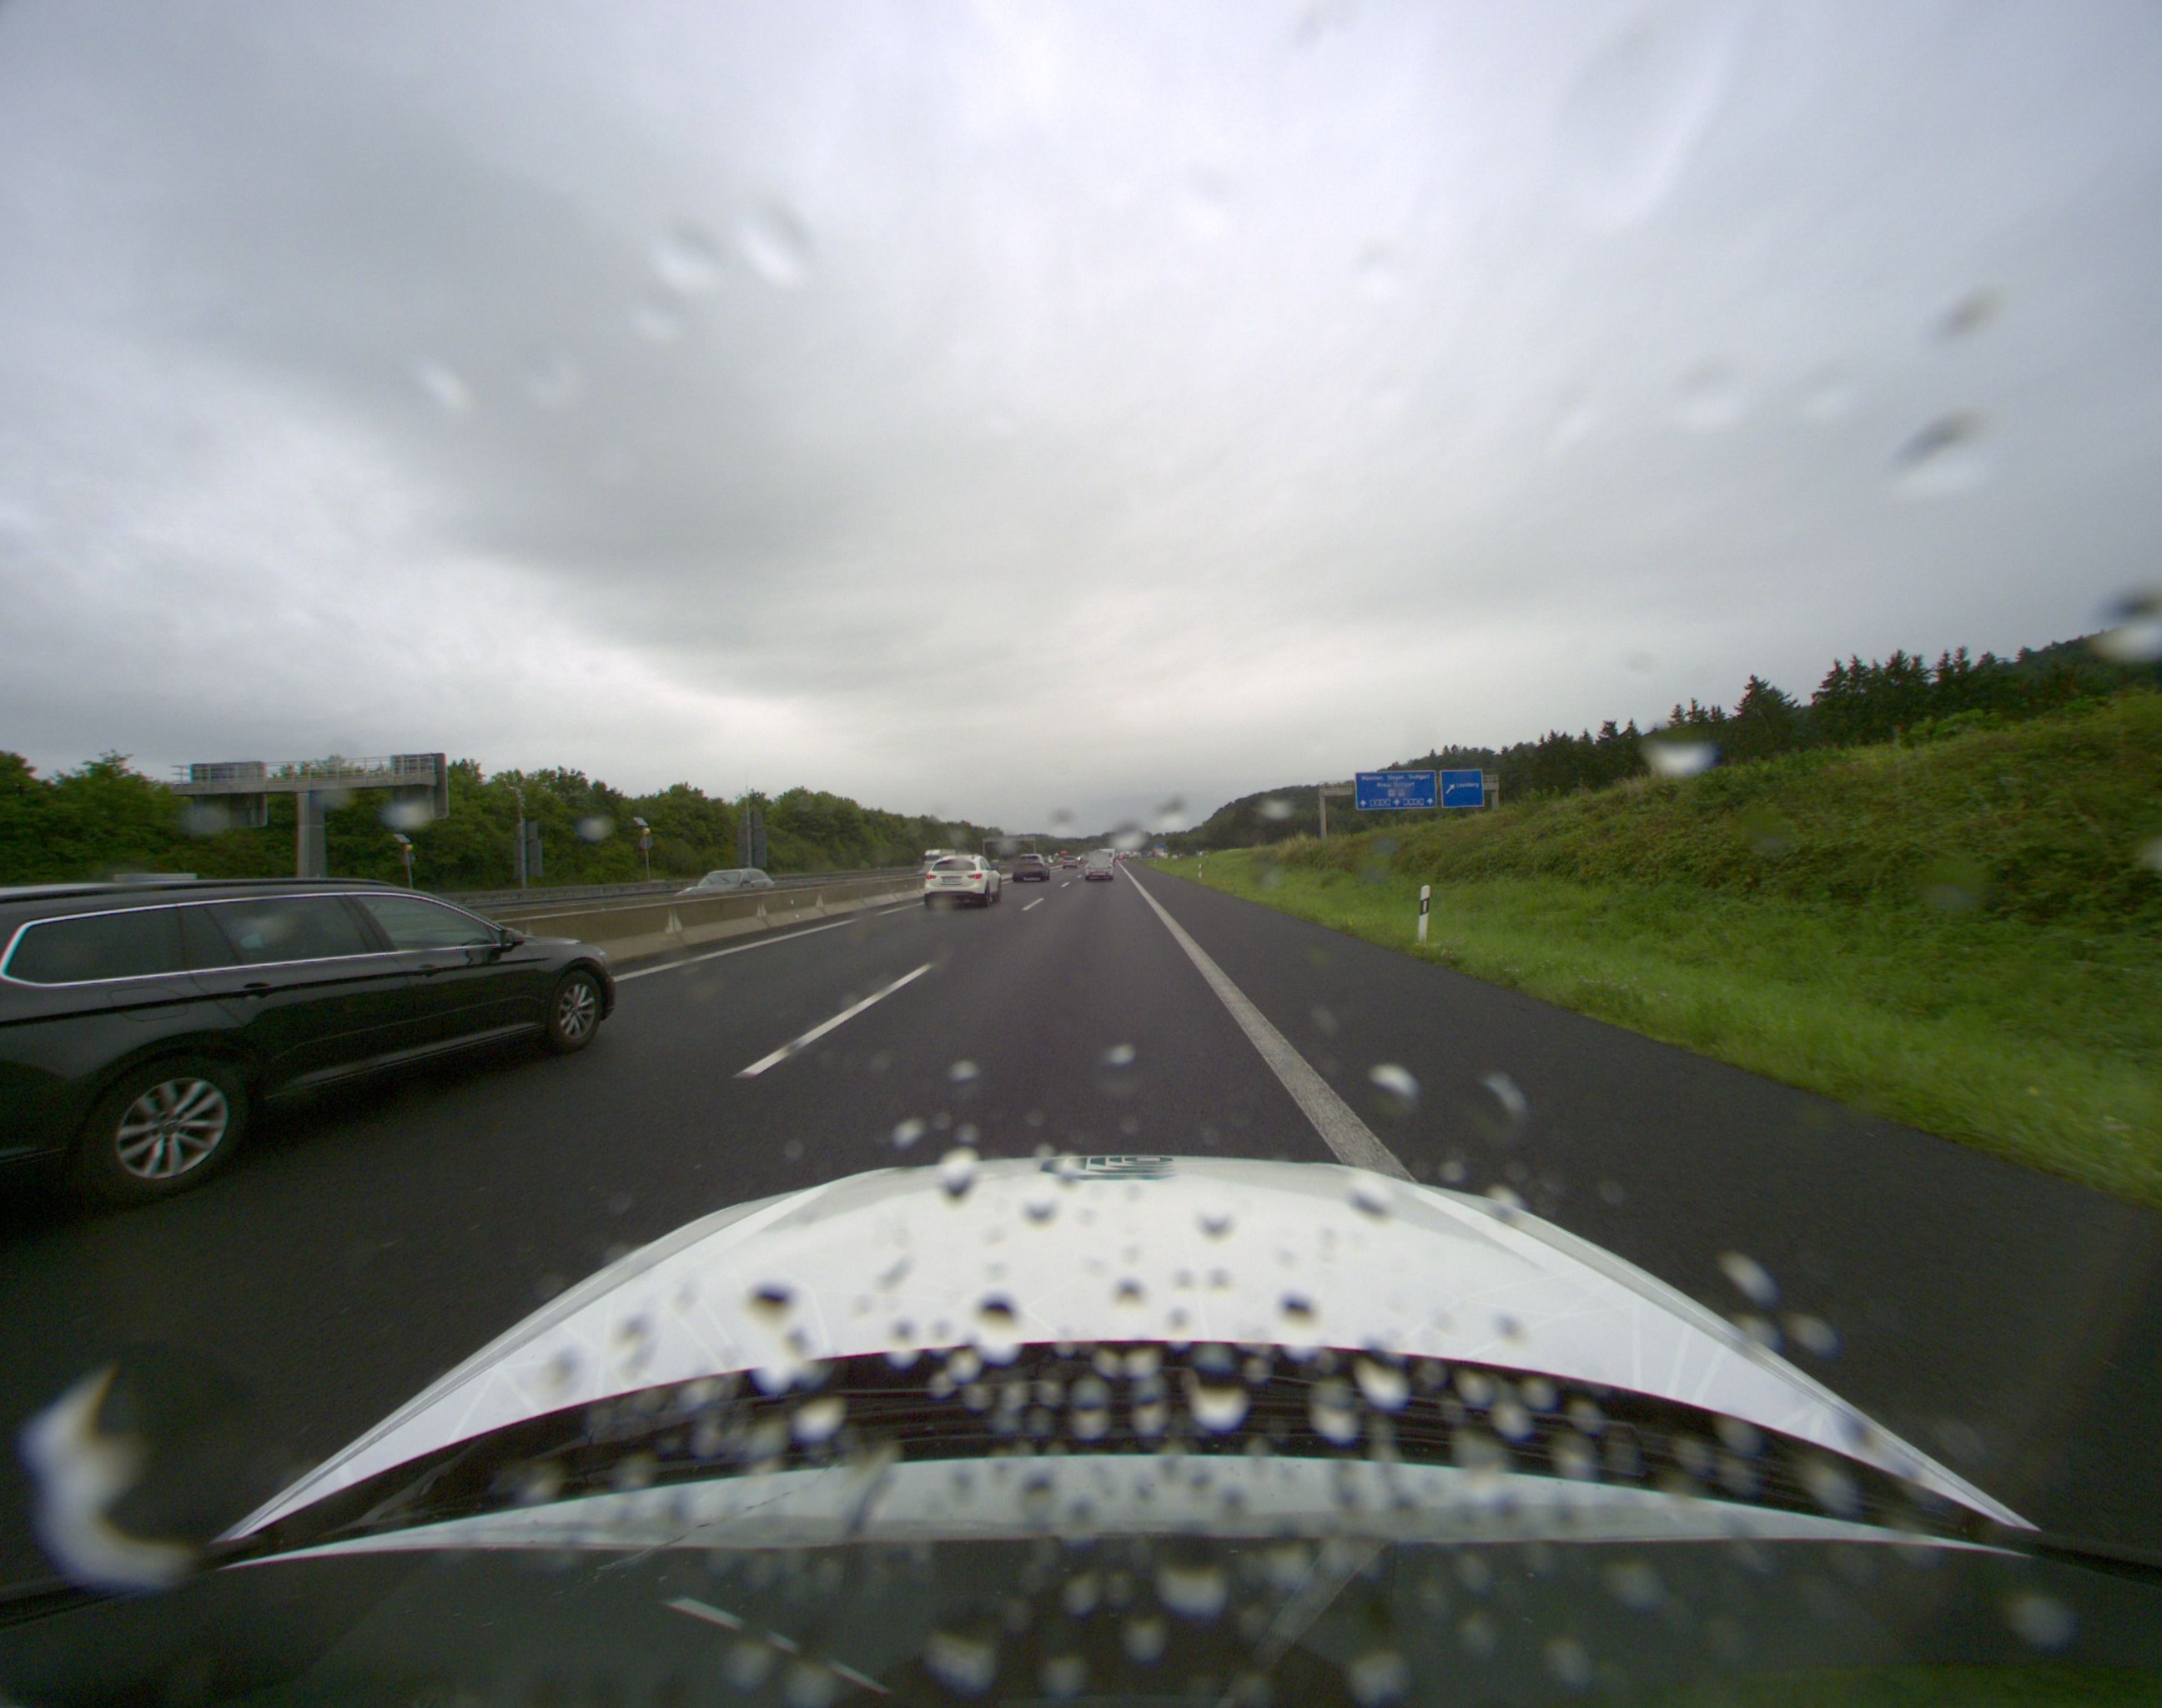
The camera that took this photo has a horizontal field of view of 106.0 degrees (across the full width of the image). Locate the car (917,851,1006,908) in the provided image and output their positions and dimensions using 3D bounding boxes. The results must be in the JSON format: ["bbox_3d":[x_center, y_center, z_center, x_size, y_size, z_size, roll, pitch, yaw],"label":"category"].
[{"bbox_3d":[-3.770,0.769,26.562,2.040,1.670,4.544,-1,0,2],"label":"car"}]

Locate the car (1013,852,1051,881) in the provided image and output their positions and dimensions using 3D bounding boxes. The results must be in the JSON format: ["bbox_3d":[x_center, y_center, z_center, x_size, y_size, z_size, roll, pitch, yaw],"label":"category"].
[{"bbox_3d":[-3.074,0.751,51.823,1.968,1.703,4.804,-1,0,2],"label":"car"}]

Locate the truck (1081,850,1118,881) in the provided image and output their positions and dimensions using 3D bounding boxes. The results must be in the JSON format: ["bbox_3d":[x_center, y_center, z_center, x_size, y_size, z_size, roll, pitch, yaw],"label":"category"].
[{"bbox_3d":[1.191,0.726,52.456,2.234,1.839,6.586,-1,0,1],"label":"truck"}]

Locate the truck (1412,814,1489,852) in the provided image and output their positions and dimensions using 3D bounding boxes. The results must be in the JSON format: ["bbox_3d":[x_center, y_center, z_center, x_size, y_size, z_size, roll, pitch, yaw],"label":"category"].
[{"bbox_3d":[38.234,-2.063,84.664,3.818,3.659,8.259,0,0,-4],"label":"truck"}]

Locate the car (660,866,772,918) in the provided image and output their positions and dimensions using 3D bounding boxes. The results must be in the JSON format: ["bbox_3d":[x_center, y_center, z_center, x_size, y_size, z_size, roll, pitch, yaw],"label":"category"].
[{"bbox_3d":[-12.032,1.204,27.153,1.791,1.508,4.002,-2,0,2],"label":"car"}]

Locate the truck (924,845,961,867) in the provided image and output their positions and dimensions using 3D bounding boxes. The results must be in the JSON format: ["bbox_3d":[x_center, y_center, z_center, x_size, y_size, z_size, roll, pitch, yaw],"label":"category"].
[{"bbox_3d":[-25.971,0.427,154.041,3.164,3.808,17.147,-1,0,3],"label":"truck"}]

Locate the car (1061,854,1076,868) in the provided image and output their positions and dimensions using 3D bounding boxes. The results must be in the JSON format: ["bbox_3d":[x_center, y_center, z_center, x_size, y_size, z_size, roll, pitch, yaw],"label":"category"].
[{"bbox_3d":[-1.553,0.868,105.720,1.732,1.794,4.002,-1,0,2],"label":"car"}]

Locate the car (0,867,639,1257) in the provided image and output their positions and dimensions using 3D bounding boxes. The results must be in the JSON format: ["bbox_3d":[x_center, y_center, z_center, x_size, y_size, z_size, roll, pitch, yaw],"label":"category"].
[{"bbox_3d":[-5.002,0.848,4.991,1.780,1.459,4.805,-1,0,2],"label":"car"}]

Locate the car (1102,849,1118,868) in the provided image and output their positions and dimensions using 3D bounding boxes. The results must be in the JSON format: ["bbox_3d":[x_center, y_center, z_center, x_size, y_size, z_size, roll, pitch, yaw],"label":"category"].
[{"bbox_3d":[4.288,0.633,121.116,2.323,2.725,6.542,-1,0,2],"label":"car"}]

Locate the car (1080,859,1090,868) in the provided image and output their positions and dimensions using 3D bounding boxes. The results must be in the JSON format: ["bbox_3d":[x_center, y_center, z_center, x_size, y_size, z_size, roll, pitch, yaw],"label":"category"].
[{"bbox_3d":[0.787,1.830,154.138,1.639,1.574,4.002,0,0,2],"label":"car"}]

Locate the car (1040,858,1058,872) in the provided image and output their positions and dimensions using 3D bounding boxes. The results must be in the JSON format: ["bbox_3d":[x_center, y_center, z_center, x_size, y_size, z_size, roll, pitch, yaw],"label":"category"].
[{"bbox_3d":[-4.025,1.428,103.082,1.812,1.662,4.019,-2,0,2],"label":"car"}]

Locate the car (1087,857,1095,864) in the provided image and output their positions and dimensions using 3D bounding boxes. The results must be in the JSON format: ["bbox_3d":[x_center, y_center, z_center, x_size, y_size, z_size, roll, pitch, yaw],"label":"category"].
[{"bbox_3d":[2.428,1.612,194.880,1.639,1.574,4.002,0,0,2],"label":"car"}]
